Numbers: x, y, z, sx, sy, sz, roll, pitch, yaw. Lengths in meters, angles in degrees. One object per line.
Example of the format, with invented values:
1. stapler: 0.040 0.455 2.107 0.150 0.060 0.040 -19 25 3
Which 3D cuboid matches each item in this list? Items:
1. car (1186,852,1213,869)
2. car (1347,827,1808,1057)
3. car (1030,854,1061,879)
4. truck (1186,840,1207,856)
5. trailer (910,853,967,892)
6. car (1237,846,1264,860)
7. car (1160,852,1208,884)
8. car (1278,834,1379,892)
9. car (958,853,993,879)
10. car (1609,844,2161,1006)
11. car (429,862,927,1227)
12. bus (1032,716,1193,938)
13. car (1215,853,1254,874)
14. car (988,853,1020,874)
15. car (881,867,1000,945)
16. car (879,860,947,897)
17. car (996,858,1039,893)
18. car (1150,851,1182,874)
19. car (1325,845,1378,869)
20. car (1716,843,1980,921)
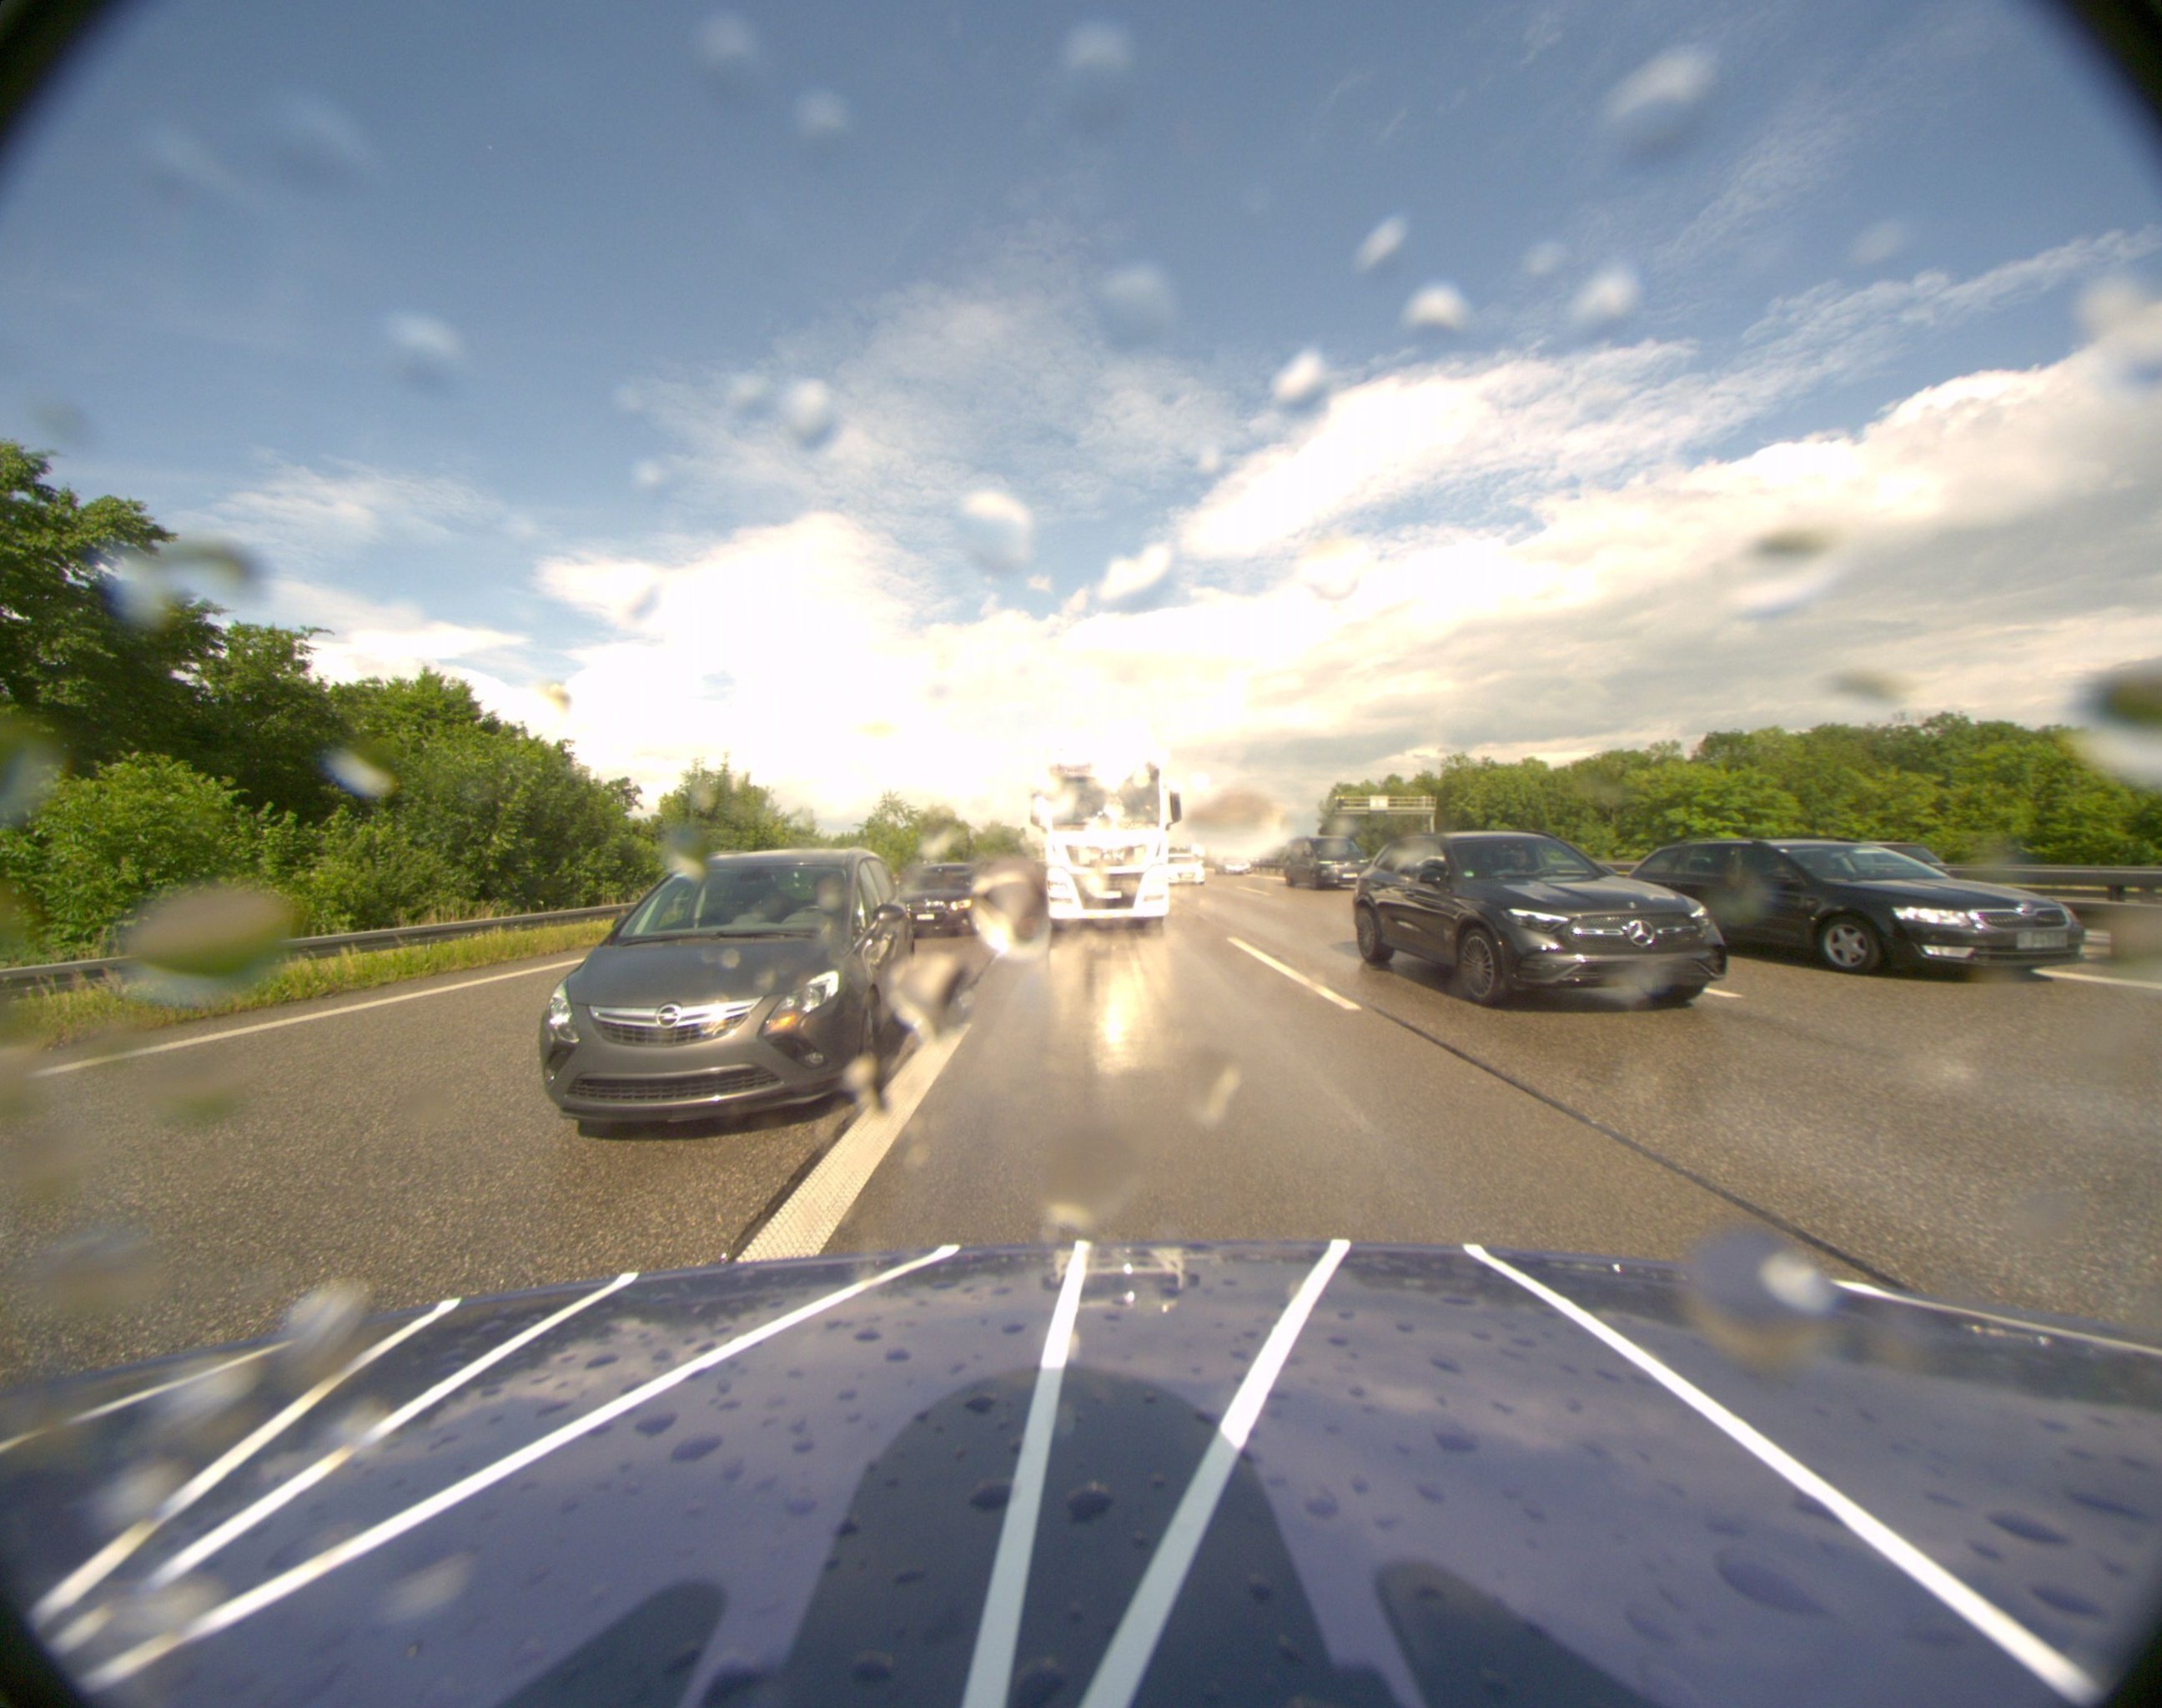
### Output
1. car: 10.105 0.520 64.962 1.618 1.412 4.000 -2 0 1
2. car: 4.522 0.648 7.996 1.881 1.669 4.626 -2 0 1
3. car: -2.228 0.783 48.574 1.858 1.434 3.999 -2 0 -1
4. truck: 23.445 -1.282 154.592 2.923 2.970 8.721 -2 1 0
5. trailer: -7.095 0.865 38.222 1.810 1.736 3.968 -3 0 4
6. car: 17.511 -0.101 78.660 1.872 1.346 4.493 -2 0 1
7. car: 4.834 0.611 36.191 1.809 1.389 4.240 -1 0 1
8. car: 9.082 0.303 28.394 1.998 1.906 5.235 -2 0 0
9. car: -6.351 0.708 46.105 1.616 1.480 3.480 -2 0 -1
10. car: 8.897 0.633 9.139 1.925 1.416 4.371 -2 0 -2
11. car: -2.400 0.930 6.053 1.859 1.622 4.732 -2 0 -7
12. bus: 0.653 -0.519 19.356 2.904 4.104 9.845 -2 0 1
13. car: 9.795 0.587 48.659 1.857 1.182 3.583 -2 0 2
14. car: -5.602 0.675 55.728 1.771 1.343 4.580 -2 0 1
15. car: -2.840 1.011 16.172 1.722 1.346 3.884 -2 0 1
16. car: -7.429 1.040 34.055 1.747 1.422 4.406 -2 0 4
17. car: -2.766 0.903 33.642 1.744 1.357 3.998 -2 0 -3
18. car: 5.458 0.525 49.072 1.597 1.390 3.999 -2 0 0
19. car: 17.471 0.163 49.302 1.867 1.383 3.999 -2 1 -2
20. car: 16.131 0.510 16.324 1.671 1.434 4.000 -1 0 1
